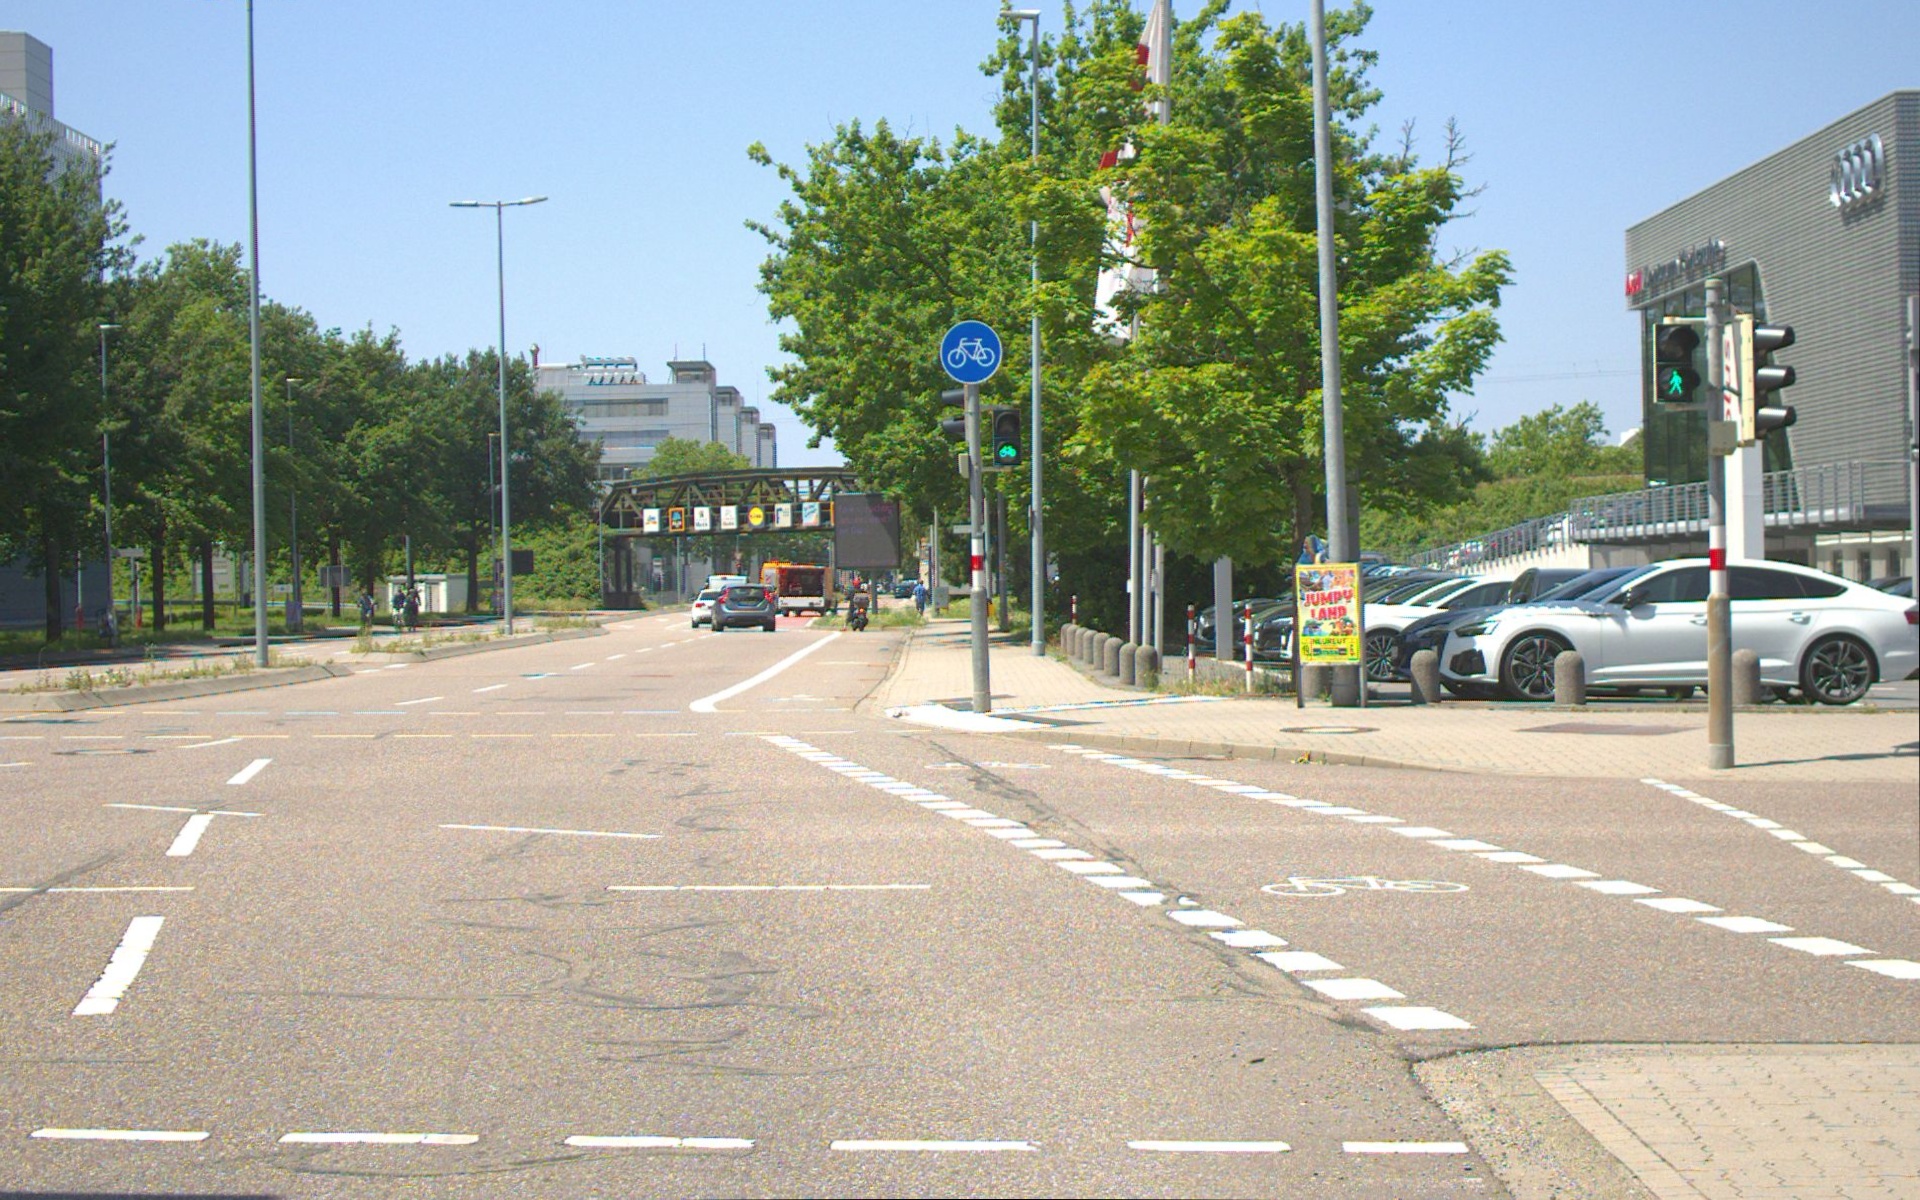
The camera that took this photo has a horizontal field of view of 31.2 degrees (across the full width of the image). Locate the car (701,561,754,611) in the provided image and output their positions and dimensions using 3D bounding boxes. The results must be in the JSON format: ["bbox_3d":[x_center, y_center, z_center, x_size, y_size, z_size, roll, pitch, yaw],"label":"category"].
[{"bbox_3d":[-9.574,-0.582,141.867,1.993,2.007,4.000,-1,0,-1],"label":"car"}]

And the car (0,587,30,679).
[{"bbox_3d":[-15.849,0.557,52.630,1.726,1.441,4.719,-3,0,2],"label":"car"}]

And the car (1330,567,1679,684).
[{"bbox_3d":[6.877,0.315,43.692,4.096,1.360,1.874,1,0,0],"label":"car"}]

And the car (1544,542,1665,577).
[{"bbox_3d":[21.831,-1.370,116.522,3.724,1.127,1.684,1,0,-5],"label":"car"}]

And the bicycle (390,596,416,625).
[{"bbox_3d":[-22.315,0.400,137.685,0.739,1.121,2.435,-1,0,-3],"label":"bicycle"}]

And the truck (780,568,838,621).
[{"bbox_3d":[-7.120,-0.299,162.808,2.458,2.402,7.134,1,1,-1],"label":"truck"}]

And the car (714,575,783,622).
[{"bbox_3d":[-6.448,-0.044,105.142,1.900,1.371,4.232,-1,0,-1],"label":"car"}]

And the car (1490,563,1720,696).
[{"bbox_3d":[7.414,0.308,39.914,1.863,1.415,4.662,1,0,1],"label":"car"}]

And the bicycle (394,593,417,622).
[{"bbox_3d":[-23.768,0.318,147.259,0.629,1.155,2.117,-3,0,-1],"label":"bicycle"}]

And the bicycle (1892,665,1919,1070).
[{"bbox_3d":[3.228,0.767,8.964,0.628,1.129,1.895,-1,1,-17],"label":"bicycle"}]

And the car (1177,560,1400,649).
[{"bbox_3d":[5.728,0.080,60.281,3.681,1.448,1.834,1,0,0],"label":"car"}]

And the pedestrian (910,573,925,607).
[{"bbox_3d":[-1.769,-0.416,143.177,0.623,1.370,0.564,-1,0,-2],"label":"pedestrian"}]

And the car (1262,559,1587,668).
[{"bbox_3d":[6.232,0.177,46.461,4.099,1.344,1.869,1,0,0],"label":"car"}]

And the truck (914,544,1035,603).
[{"bbox_3d":[0.714,-1.307,171.766,5.594,2.841,2.624,1,0,-10],"label":"truck"}]

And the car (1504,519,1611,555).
[{"bbox_3d":[21.707,-2.291,124.918,3.523,1.235,1.677,1,0,-5],"label":"car"}]

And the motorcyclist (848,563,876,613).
[{"bbox_3d":[-3.024,-0.362,105.997,0.719,1.524,0.871,1,0,-10],"label":"motorcyclist"}]

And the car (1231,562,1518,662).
[{"bbox_3d":[6.253,0.174,52.205,4.101,1.400,1.869,1,0,0],"label":"car"}]

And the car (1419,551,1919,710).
[{"bbox_3d":[6.859,0.279,33.266,4.592,1.385,1.869,1,0,2],"label":"car"}]

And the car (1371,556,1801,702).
[{"bbox_3d":[6.460,0.286,35.801,4.096,1.385,1.869,1,0,0],"label":"car"}]

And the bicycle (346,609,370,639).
[{"bbox_3d":[-23.792,0.939,135.872,0.637,1.130,1.971,-1,0,-2],"label":"bicycle"}]

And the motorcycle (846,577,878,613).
[{"bbox_3d":[-3.016,-0.162,105.936,0.716,1.101,1.831,1,0,-10],"label":"motorcycle"}]

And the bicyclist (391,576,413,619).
[{"bbox_3d":[-22.308,-0.110,137.552,0.745,1.680,0.952,-1,0,-3],"label":"bicyclist"}]

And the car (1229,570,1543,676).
[{"bbox_3d":[6.069,0.320,49.339,4.226,1.385,1.869,1,0,0],"label":"car"}]

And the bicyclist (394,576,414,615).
[{"bbox_3d":[-23.792,-0.182,147.133,0.633,1.623,1.045,-3,0,-1],"label":"bicyclist"}]

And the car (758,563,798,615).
[{"bbox_3d":[-10.368,-0.645,196.255,2.072,2.845,6.765,-1,0,-1],"label":"car"}]

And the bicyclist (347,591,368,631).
[{"bbox_3d":[-23.798,0.431,135.800,0.637,1.577,0.884,-1,0,-1],"label":"bicyclist"}]

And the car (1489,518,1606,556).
[{"bbox_3d":[22.078,-2.362,129.298,3.986,1.307,1.798,1,0,-5],"label":"car"}]

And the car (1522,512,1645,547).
[{"bbox_3d":[21.967,-2.487,121.194,3.938,1.207,1.718,0,0,-5],"label":"car"}]

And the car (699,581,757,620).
[{"bbox_3d":[-8.534,0.017,126.697,1.924,1.415,4.000,0,0,-1],"label":"car"}]
